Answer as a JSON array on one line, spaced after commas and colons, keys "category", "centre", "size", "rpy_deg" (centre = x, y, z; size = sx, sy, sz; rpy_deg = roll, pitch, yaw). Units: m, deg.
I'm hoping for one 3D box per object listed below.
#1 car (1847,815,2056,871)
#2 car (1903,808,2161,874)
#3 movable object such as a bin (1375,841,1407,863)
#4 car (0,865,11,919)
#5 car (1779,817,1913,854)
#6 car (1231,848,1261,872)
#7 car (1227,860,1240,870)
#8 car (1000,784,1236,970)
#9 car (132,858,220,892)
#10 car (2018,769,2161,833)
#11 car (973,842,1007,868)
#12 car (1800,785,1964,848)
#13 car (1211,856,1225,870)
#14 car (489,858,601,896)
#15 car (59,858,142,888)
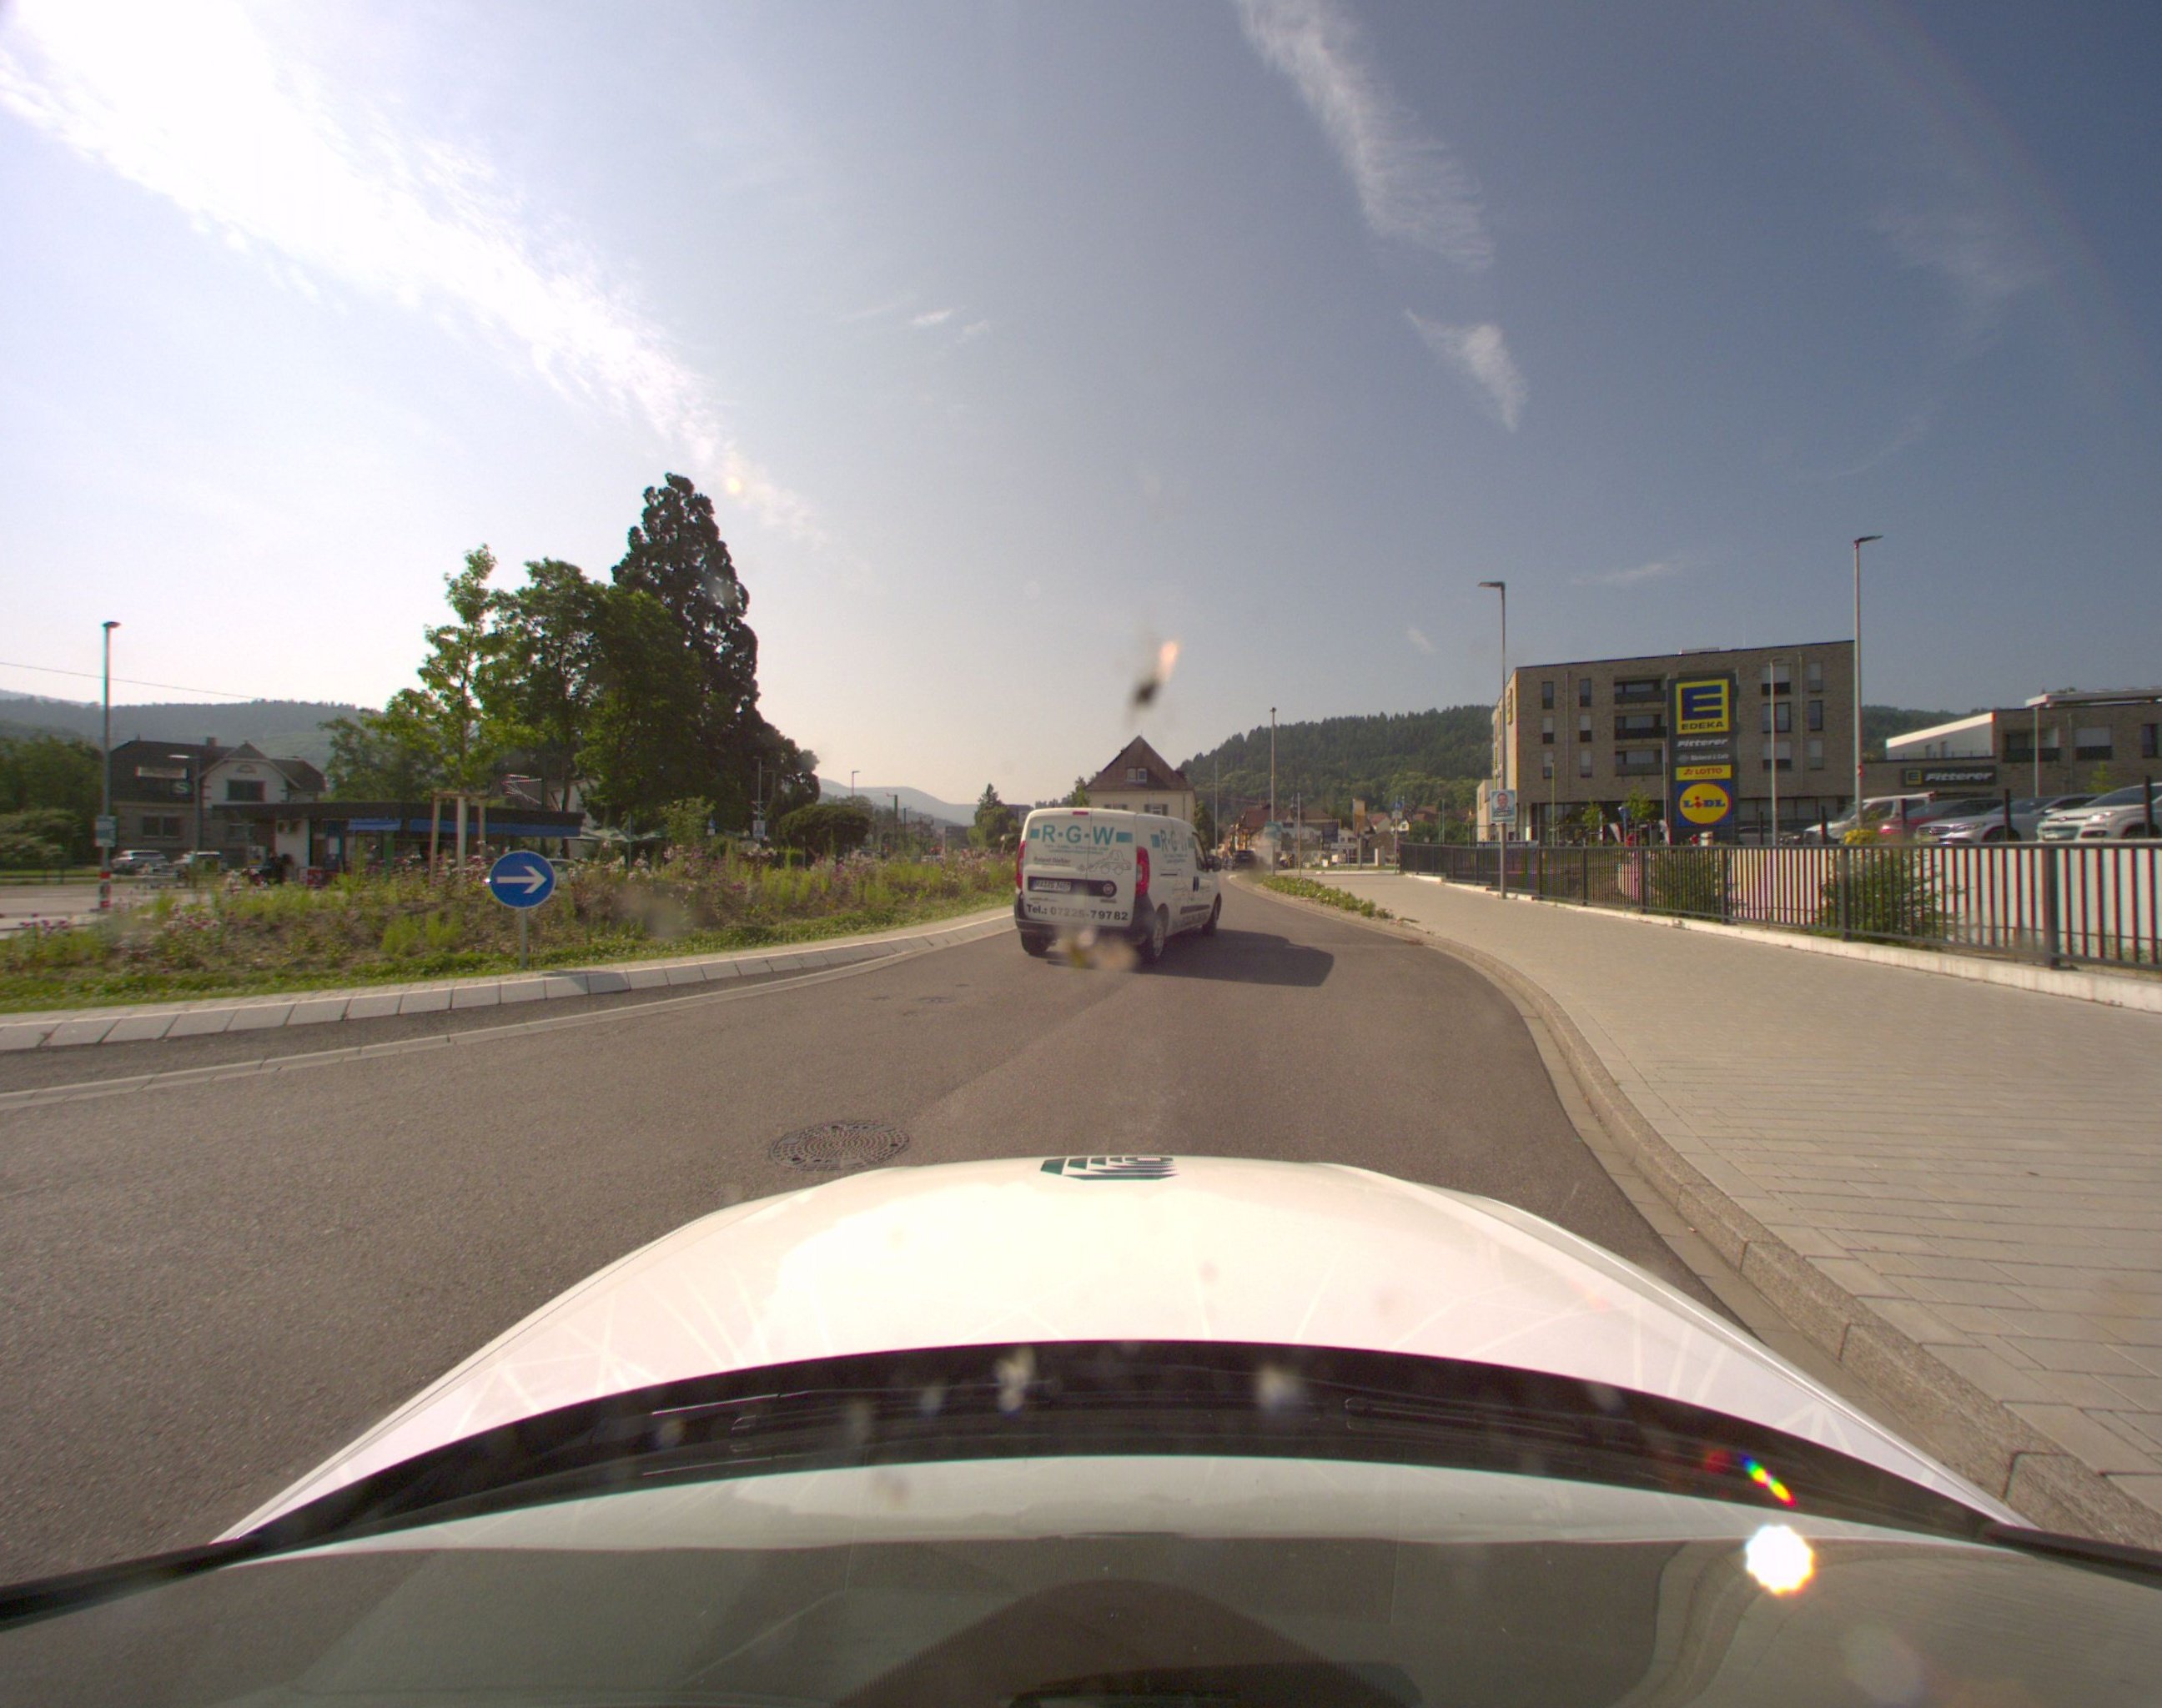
[{"category": "car", "centre": [23.170, -0.281, 21.798], "size": [3.534, 1.430, 1.715], "rpy_deg": [0, 0, 9]}, {"category": "car", "centre": [22.566, -0.294, 19.349], "size": [4.030, 1.487, 1.722], "rpy_deg": [0, 0, 11]}, {"category": "movable object such as a bin", "centre": [25.791, -0.155, 67.863], "size": [2.424, 1.844, 1.435], "rpy_deg": [-1, -1, 18]}, {"category": "car", "centre": [-30.680, 1.050, 21.008], "size": [1.375, 1.449, 3.559], "rpy_deg": [0, 0, 29]}, {"category": "car", "centre": [32.890, -0.775, 35.160], "size": [3.948, 1.447, 1.688], "rpy_deg": [-1, -1, 31]}, {"category": "car", "centre": [12.319, 0.474, 60.521], "size": [1.867, 1.684, 4.016], "rpy_deg": [-1, -1, 15]}, {"category": "car", "centre": [15.756, 1.123, 84.368], "size": [1.298, 1.003, 3.099], "rpy_deg": [-1, -1, 10]}, {"category": "car", "centre": [0.781, 0.207, 11.573], "size": [1.790, 2.077, 4.630], "rpy_deg": [2, 1, 23]}, {"category": "car", "centre": [-37.486, 0.843, 33.718], "size": [3.551, 1.326, 1.424], "rpy_deg": [0, 0, 25]}, {"category": "car", "centre": [21.869, -1.050, 16.502], "size": [3.534, 1.199, 1.719], "rpy_deg": [0, 0, 9]}, {"category": "car", "centre": [-7.265, 0.041, 65.464], "size": [1.800, 2.013, 4.008], "rpy_deg": [-1, 1, 6]}, {"category": "car", "centre": [29.773, -1.327, 30.459], "size": [3.949, 2.136, 2.012], "rpy_deg": [-1, -1, 30]}, {"category": "car", "centre": [20.536, 1.349, 121.814], "size": [1.981, 2.014, 4.012], "rpy_deg": [-1, -1, 11]}, {"category": "car", "centre": [-18.226, 0.761, 27.851], "size": [1.380, 1.172, 3.251], "rpy_deg": [0, 0, 8]}, {"category": "car", "centre": [-43.030, 0.840, 35.730], "size": [3.226, 1.267, 1.459], "rpy_deg": [-1, -1, 23]}]
